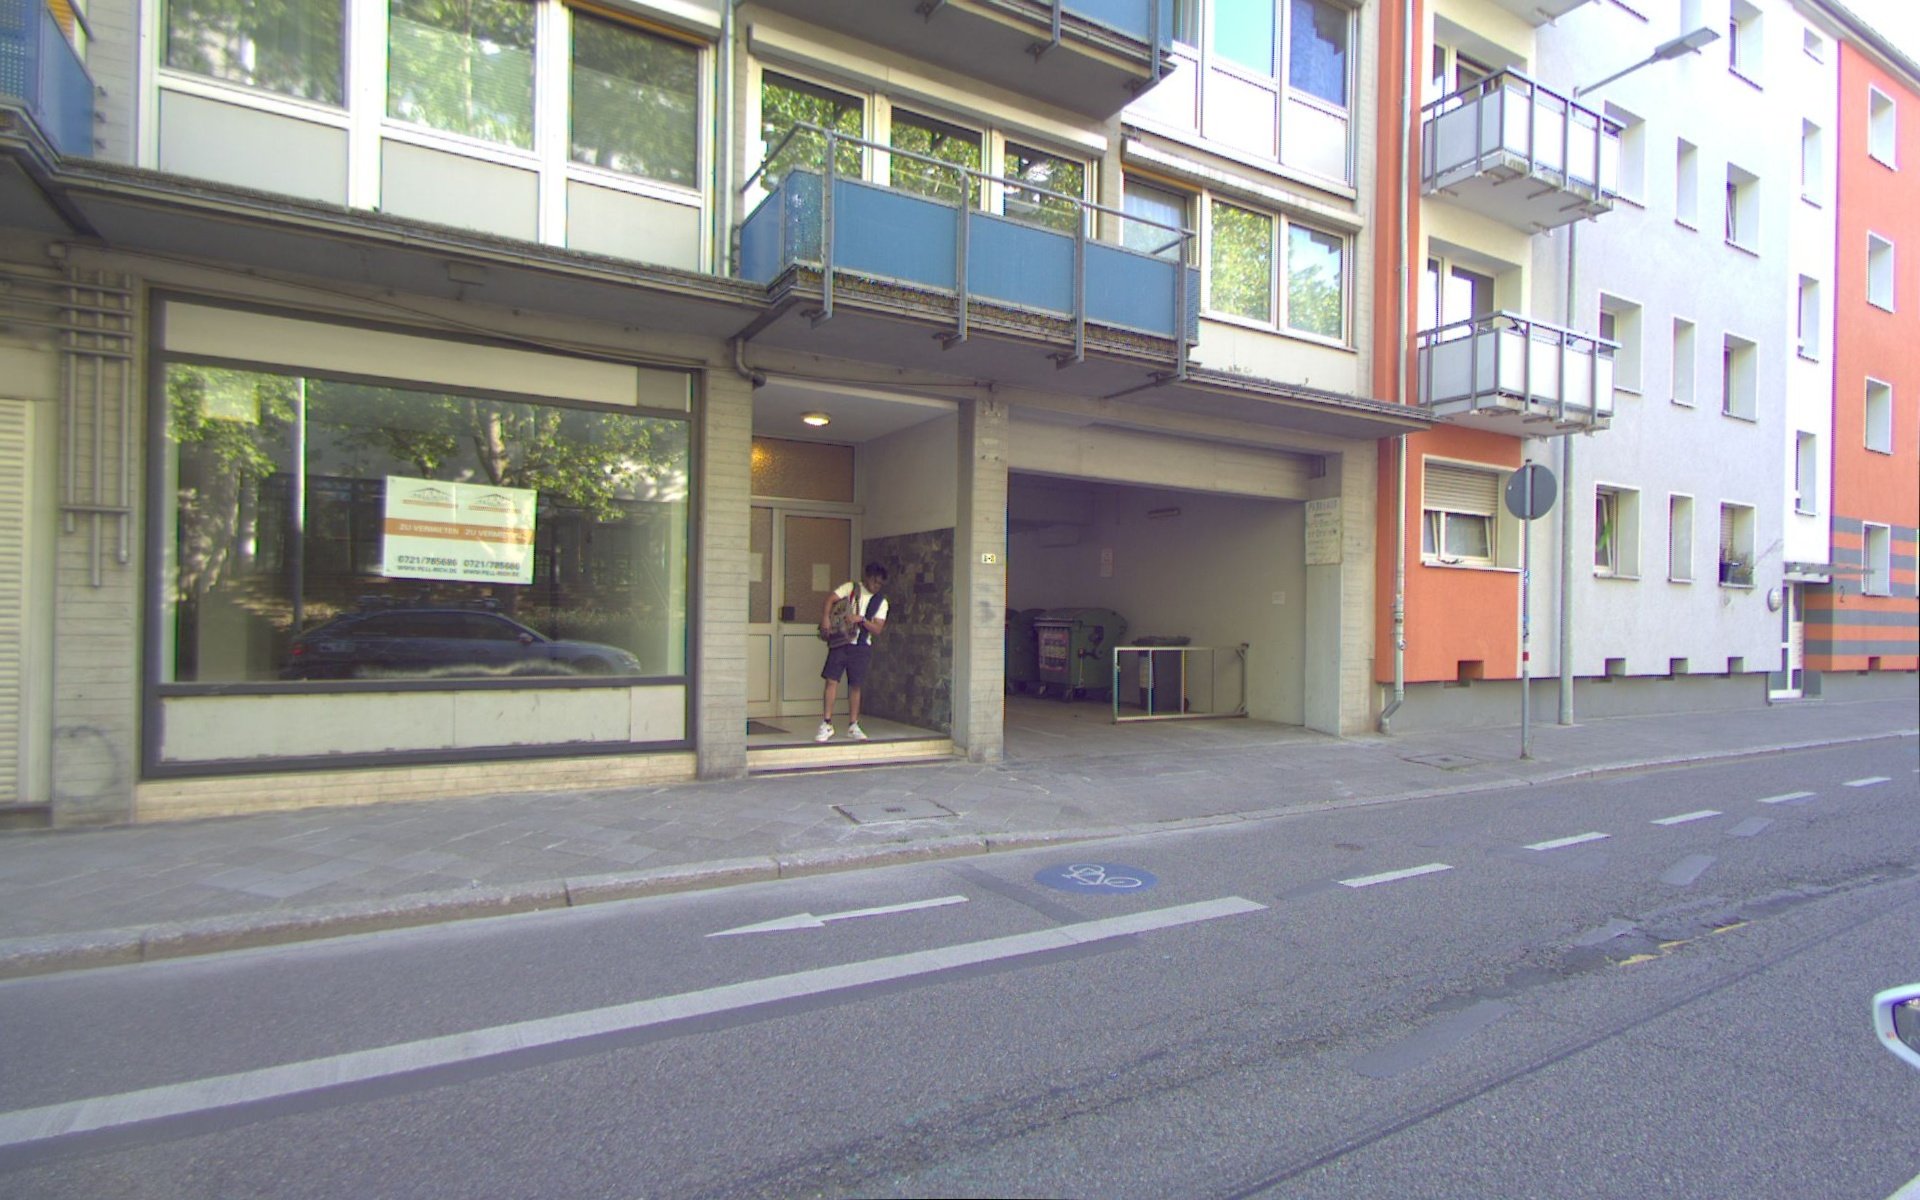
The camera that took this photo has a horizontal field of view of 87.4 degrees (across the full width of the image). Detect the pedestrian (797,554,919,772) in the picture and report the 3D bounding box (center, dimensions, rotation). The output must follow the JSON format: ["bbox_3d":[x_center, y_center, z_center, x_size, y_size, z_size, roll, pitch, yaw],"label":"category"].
[{"bbox_3d":[-0.947,0.556,9.254,0.882,1.902,0.703,2,0,-28],"label":"pedestrian"}]

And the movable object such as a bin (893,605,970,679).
[{"bbox_3d":[-0.571,0.816,19.864,1.066,1.384,1.255,2,0,-27],"label":"movable object such as a bin"}]

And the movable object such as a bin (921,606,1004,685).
[{"bbox_3d":[0.038,0.829,18.694,1.066,1.384,1.255,2,0,-27],"label":"movable object such as a bin"}]

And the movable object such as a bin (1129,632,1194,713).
[{"bbox_3d":[2.891,1.030,14.460,0.650,1.115,0.626,2,0,-27],"label":"movable object such as a bin"}]

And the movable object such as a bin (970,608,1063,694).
[{"bbox_3d":[0.948,0.849,17.125,1.066,1.384,1.255,2,0,-27],"label":"movable object such as a bin"}]

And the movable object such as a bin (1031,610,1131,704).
[{"bbox_3d":[1.890,0.871,15.811,1.066,1.384,1.192,2,0,-27],"label":"movable object such as a bin"}]
